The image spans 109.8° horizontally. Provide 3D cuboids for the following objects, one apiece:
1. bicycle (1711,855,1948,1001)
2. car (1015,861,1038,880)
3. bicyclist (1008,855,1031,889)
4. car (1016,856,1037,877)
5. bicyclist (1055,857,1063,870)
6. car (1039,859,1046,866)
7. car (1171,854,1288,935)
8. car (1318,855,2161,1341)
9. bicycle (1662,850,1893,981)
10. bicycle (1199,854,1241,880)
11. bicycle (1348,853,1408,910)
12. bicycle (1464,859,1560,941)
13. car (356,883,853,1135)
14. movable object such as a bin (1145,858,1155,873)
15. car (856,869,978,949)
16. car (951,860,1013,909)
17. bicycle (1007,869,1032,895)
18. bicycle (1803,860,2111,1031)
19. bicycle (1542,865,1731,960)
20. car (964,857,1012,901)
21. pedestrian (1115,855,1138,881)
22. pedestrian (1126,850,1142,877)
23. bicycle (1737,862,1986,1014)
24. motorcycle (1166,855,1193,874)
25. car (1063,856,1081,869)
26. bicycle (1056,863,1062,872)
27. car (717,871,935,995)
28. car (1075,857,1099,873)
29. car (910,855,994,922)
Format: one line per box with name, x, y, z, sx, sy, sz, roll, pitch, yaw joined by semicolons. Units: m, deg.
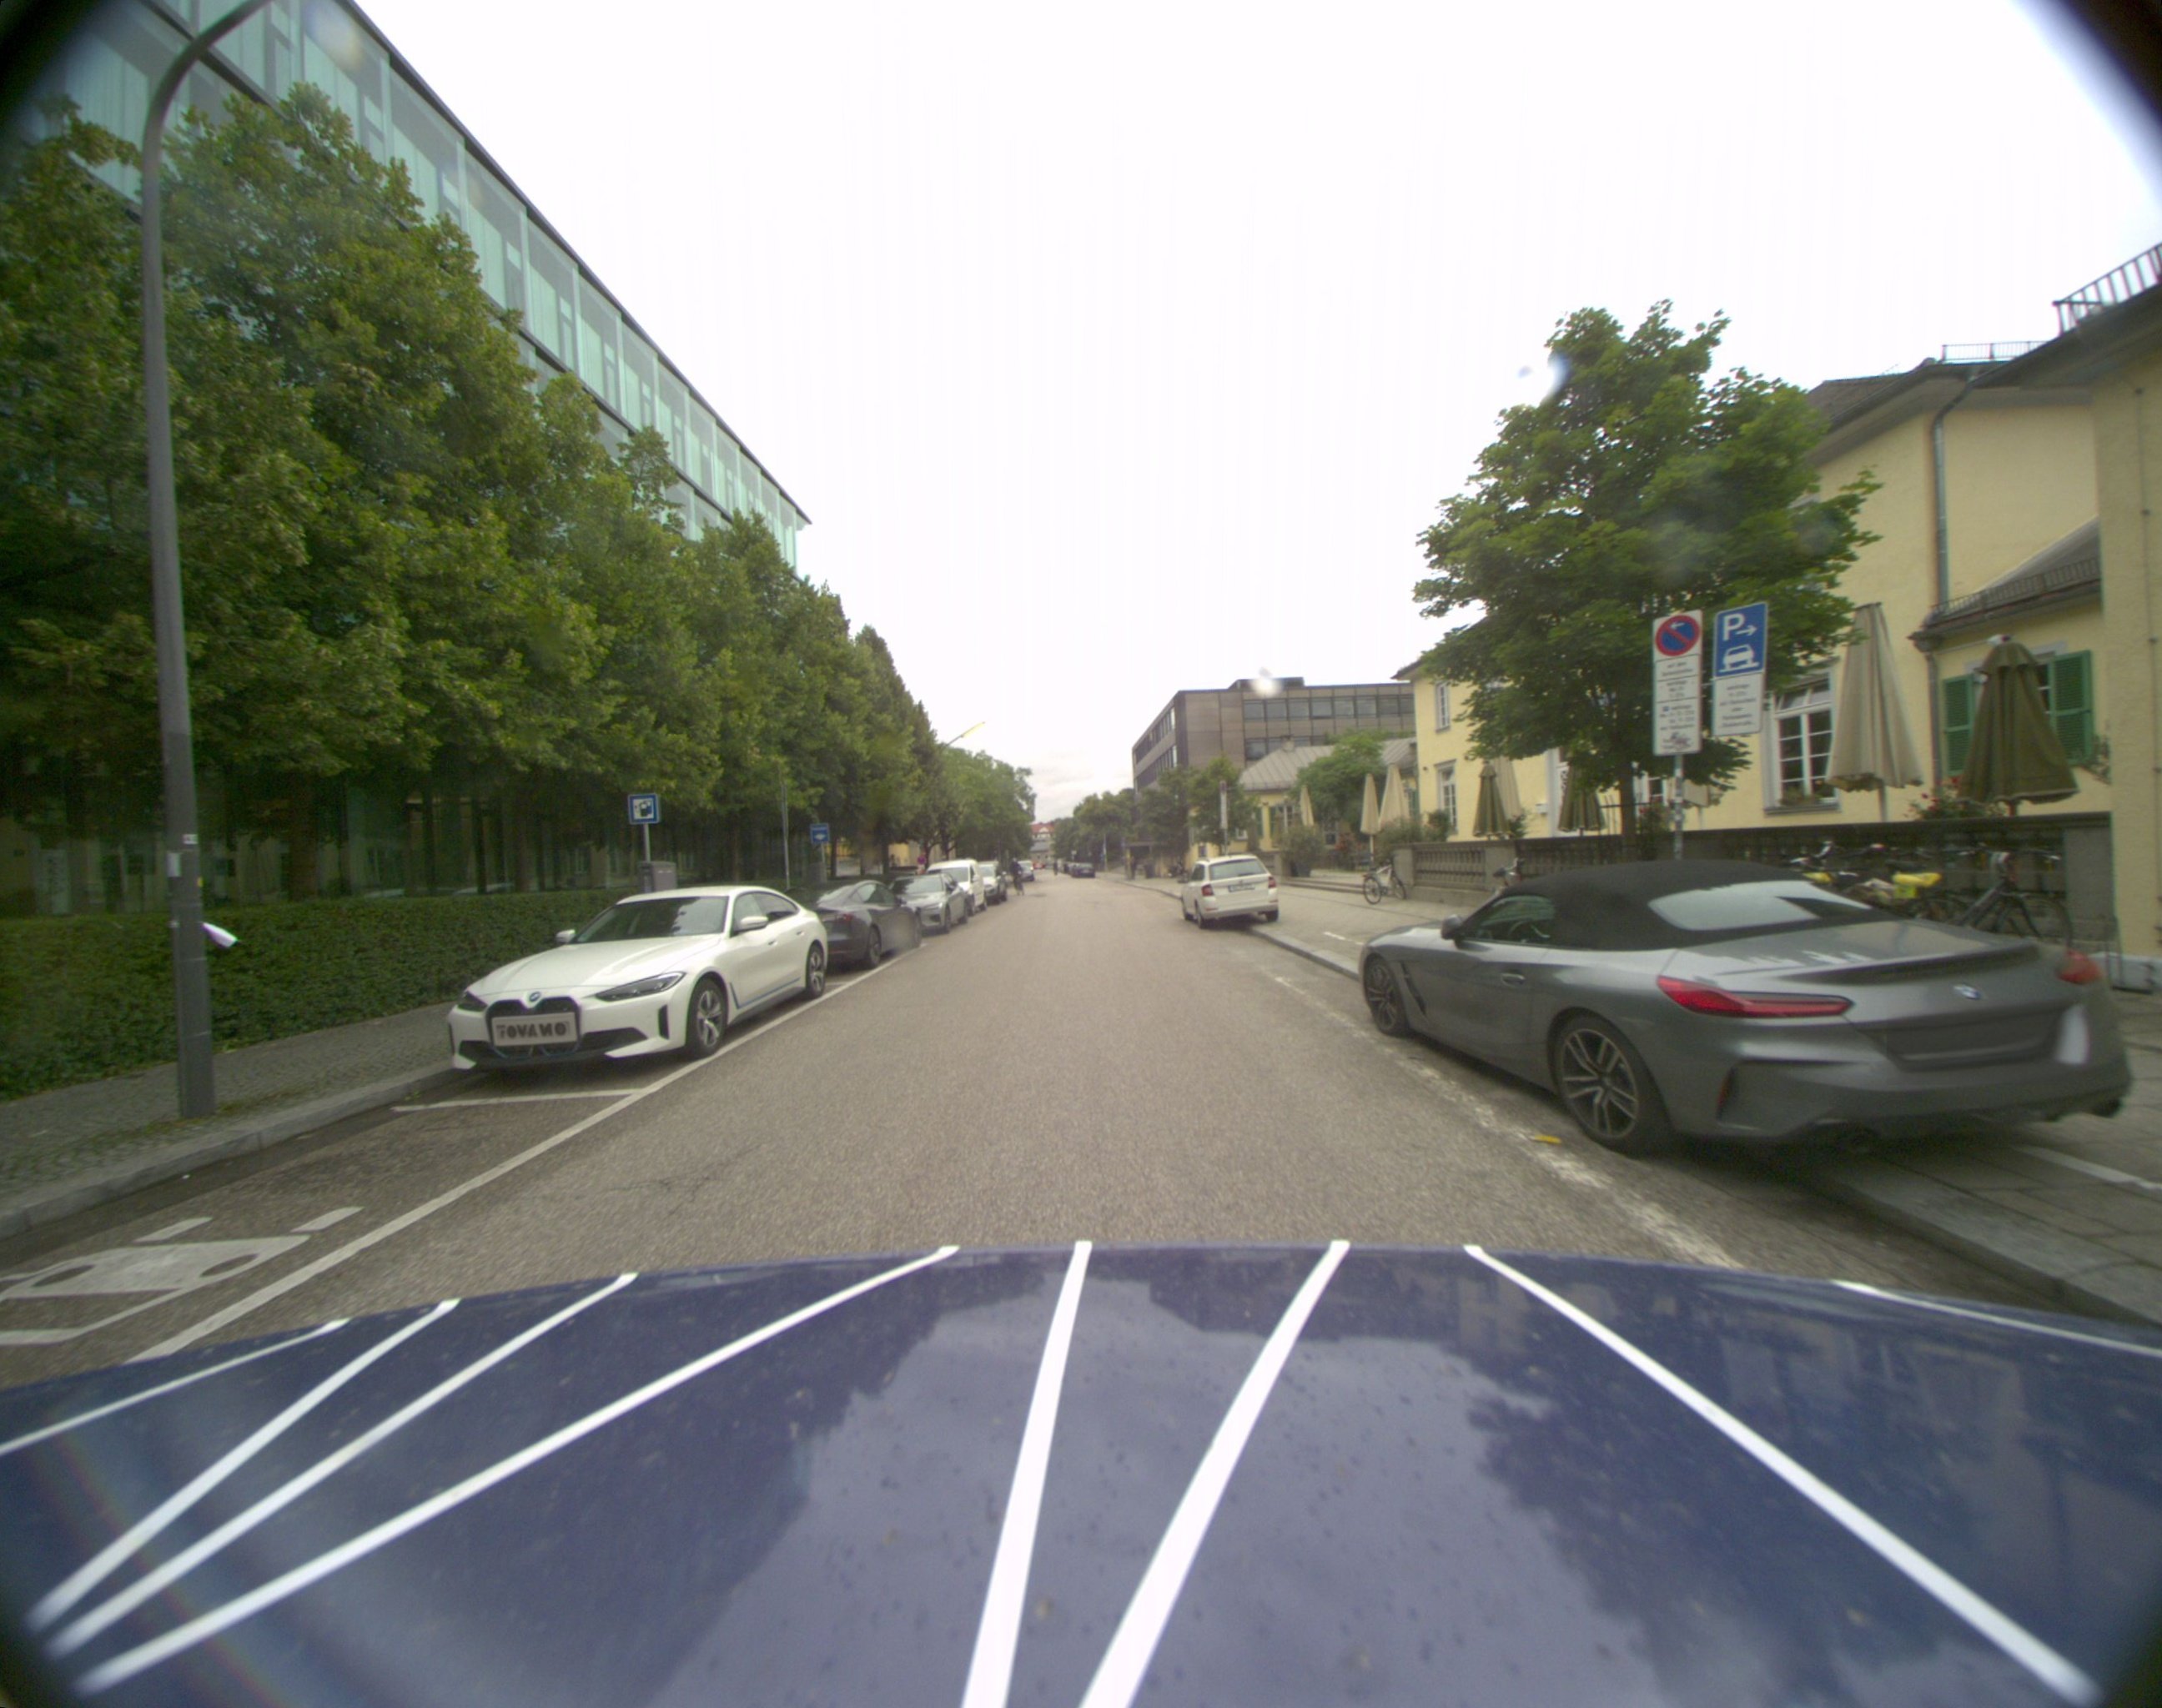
bicycle;6.555;0.634;6.679;1.705;1.165;0.352;-3;0;0
car;-4.905;1.422;68.632;1.959;1.494;4.485;-4;0;-3
bicyclist;-3.099;0.894;38.115;0.779;1.657;1.035;-4;-1;11
car;-5.312;1.230;74.690;1.831;1.884;4.485;-4;0;-3
bicyclist;-2.645;1.148;91.919;0.904;1.601;1.067;-1;0;-3
car;-11.518;2.611;225.766;1.999;2.002;3.998;-4;0;-4
car;3.204;0.803;17.257;1.729;1.483;4.461;-4;0;1
car;3.308;0.830;4.918;1.901;1.510;4.654;-4;0;-1
bicycle;6.710;0.590;7.381;1.631;1.166;0.466;-3;0;9
bicycle;6.804;0.652;37.129;1.847;1.028;0.466;-8;0;0
bicycle;7.014;0.631;17.922;1.571;1.254;0.569;-2;0;-39
bicycle;6.434;0.659;11.305;1.637;1.082;0.636;-2;0;-39
car;-4.112;1.192;7.866;1.999;1.451;4.956;-4;0;-1
movable object such as a bin;5.085;0.854;55.821;0.615;1.102;0.460;-4;1;-4
car;-3.938;1.258;19.216;1.952;1.543;5.004;-4;0;-1
car;-3.961;1.164;31.133;1.872;1.681;4.784;-4;0;-1
bicycle;-3.058;1.408;38.107;0.720;1.199;1.803;-4;-1;11
bicycle;6.565;0.660;5.755;1.494;1.142;0.642;-3;0;3
bicycle;6.757;0.702;9.318;1.727;1.022;0.645;-4;0;8
car;-4.321;1.115;35.856;1.815;1.797;4.346;-4;0;-3
pedestrian;3.591;1.101;60.347;1.480;2.002;1.500;-4;0;-3
pedestrian;3.966;0.716;57.191;0.977;2.002;0.914;-4;1;-3
bicycle;6.446;0.677;6.304;1.633;1.130;0.387;-3;0;0
motorcycle;6.584;0.706;50.921;1.664;1.106;0.591;-5;1;41
car;-1.158;1.028;97.743;1.999;1.555;3.999;-2;0;-3
bicycle;-2.655;1.624;91.817;0.607;1.014;2.307;-1;0;-3
car;-4.129;1.190;13.325;1.967;1.543;4.850;-4;0;1
car;0.562;0.999;73.067;1.929;1.390;4.485;-3;0;-3
car;-4.130;1.042;25.096;1.789;1.884;4.574;-4;0;1
